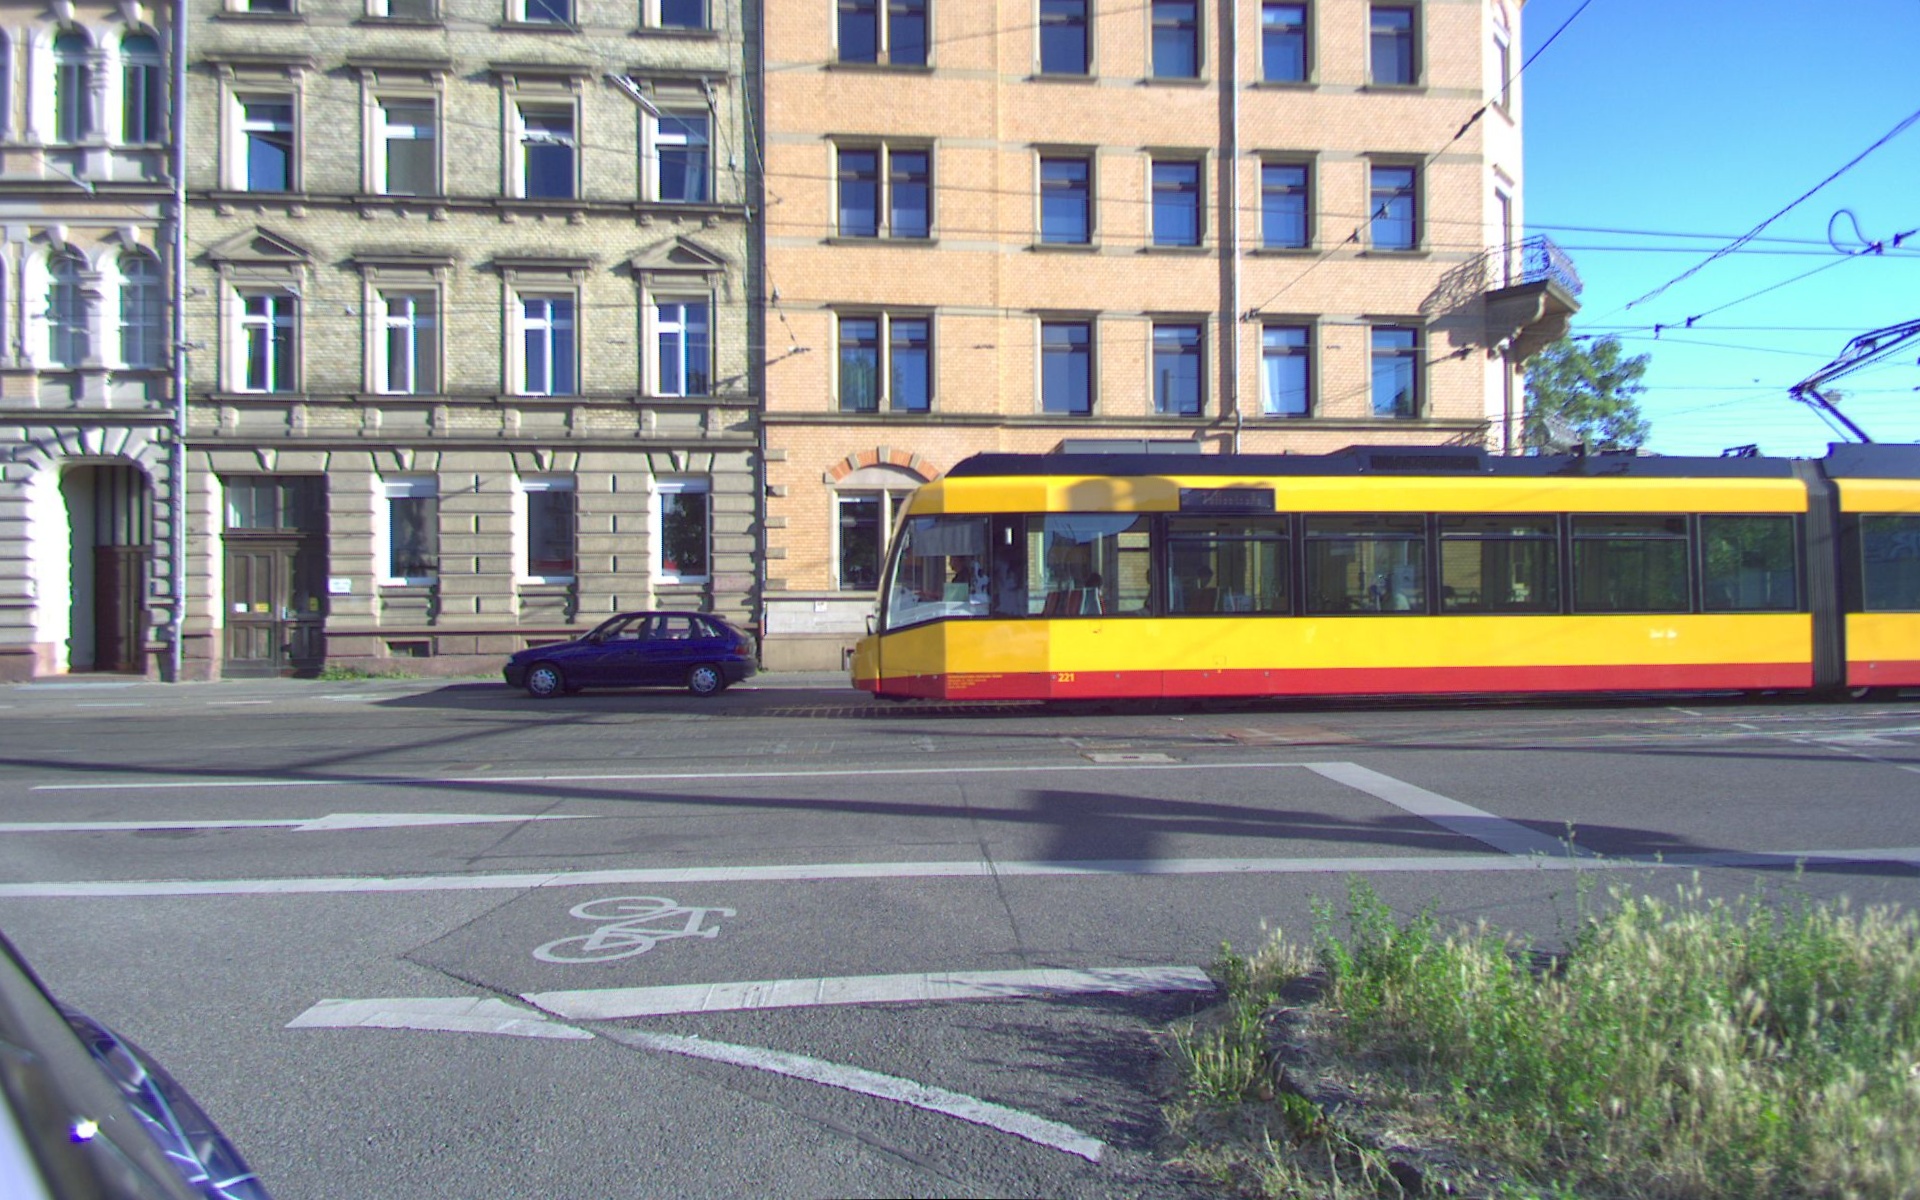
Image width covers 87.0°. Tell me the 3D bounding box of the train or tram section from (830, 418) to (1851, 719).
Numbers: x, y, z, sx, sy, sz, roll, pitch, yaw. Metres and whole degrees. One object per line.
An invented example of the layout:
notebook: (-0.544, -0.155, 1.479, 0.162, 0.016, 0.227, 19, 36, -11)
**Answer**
train or tram section: (4.753, -0.408, 13.802, 12.818, 3.534, 2.873, -1, -1, -4)

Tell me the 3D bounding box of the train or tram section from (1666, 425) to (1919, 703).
train or tram section: (13.747, -0.462, 14.493, 5.223, 3.534, 2.873, -1, -1, -4)

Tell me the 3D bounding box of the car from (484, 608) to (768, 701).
car: (-5.325, 0.852, 16.568, 4.100, 1.390, 1.816, 0, -1, -3)
